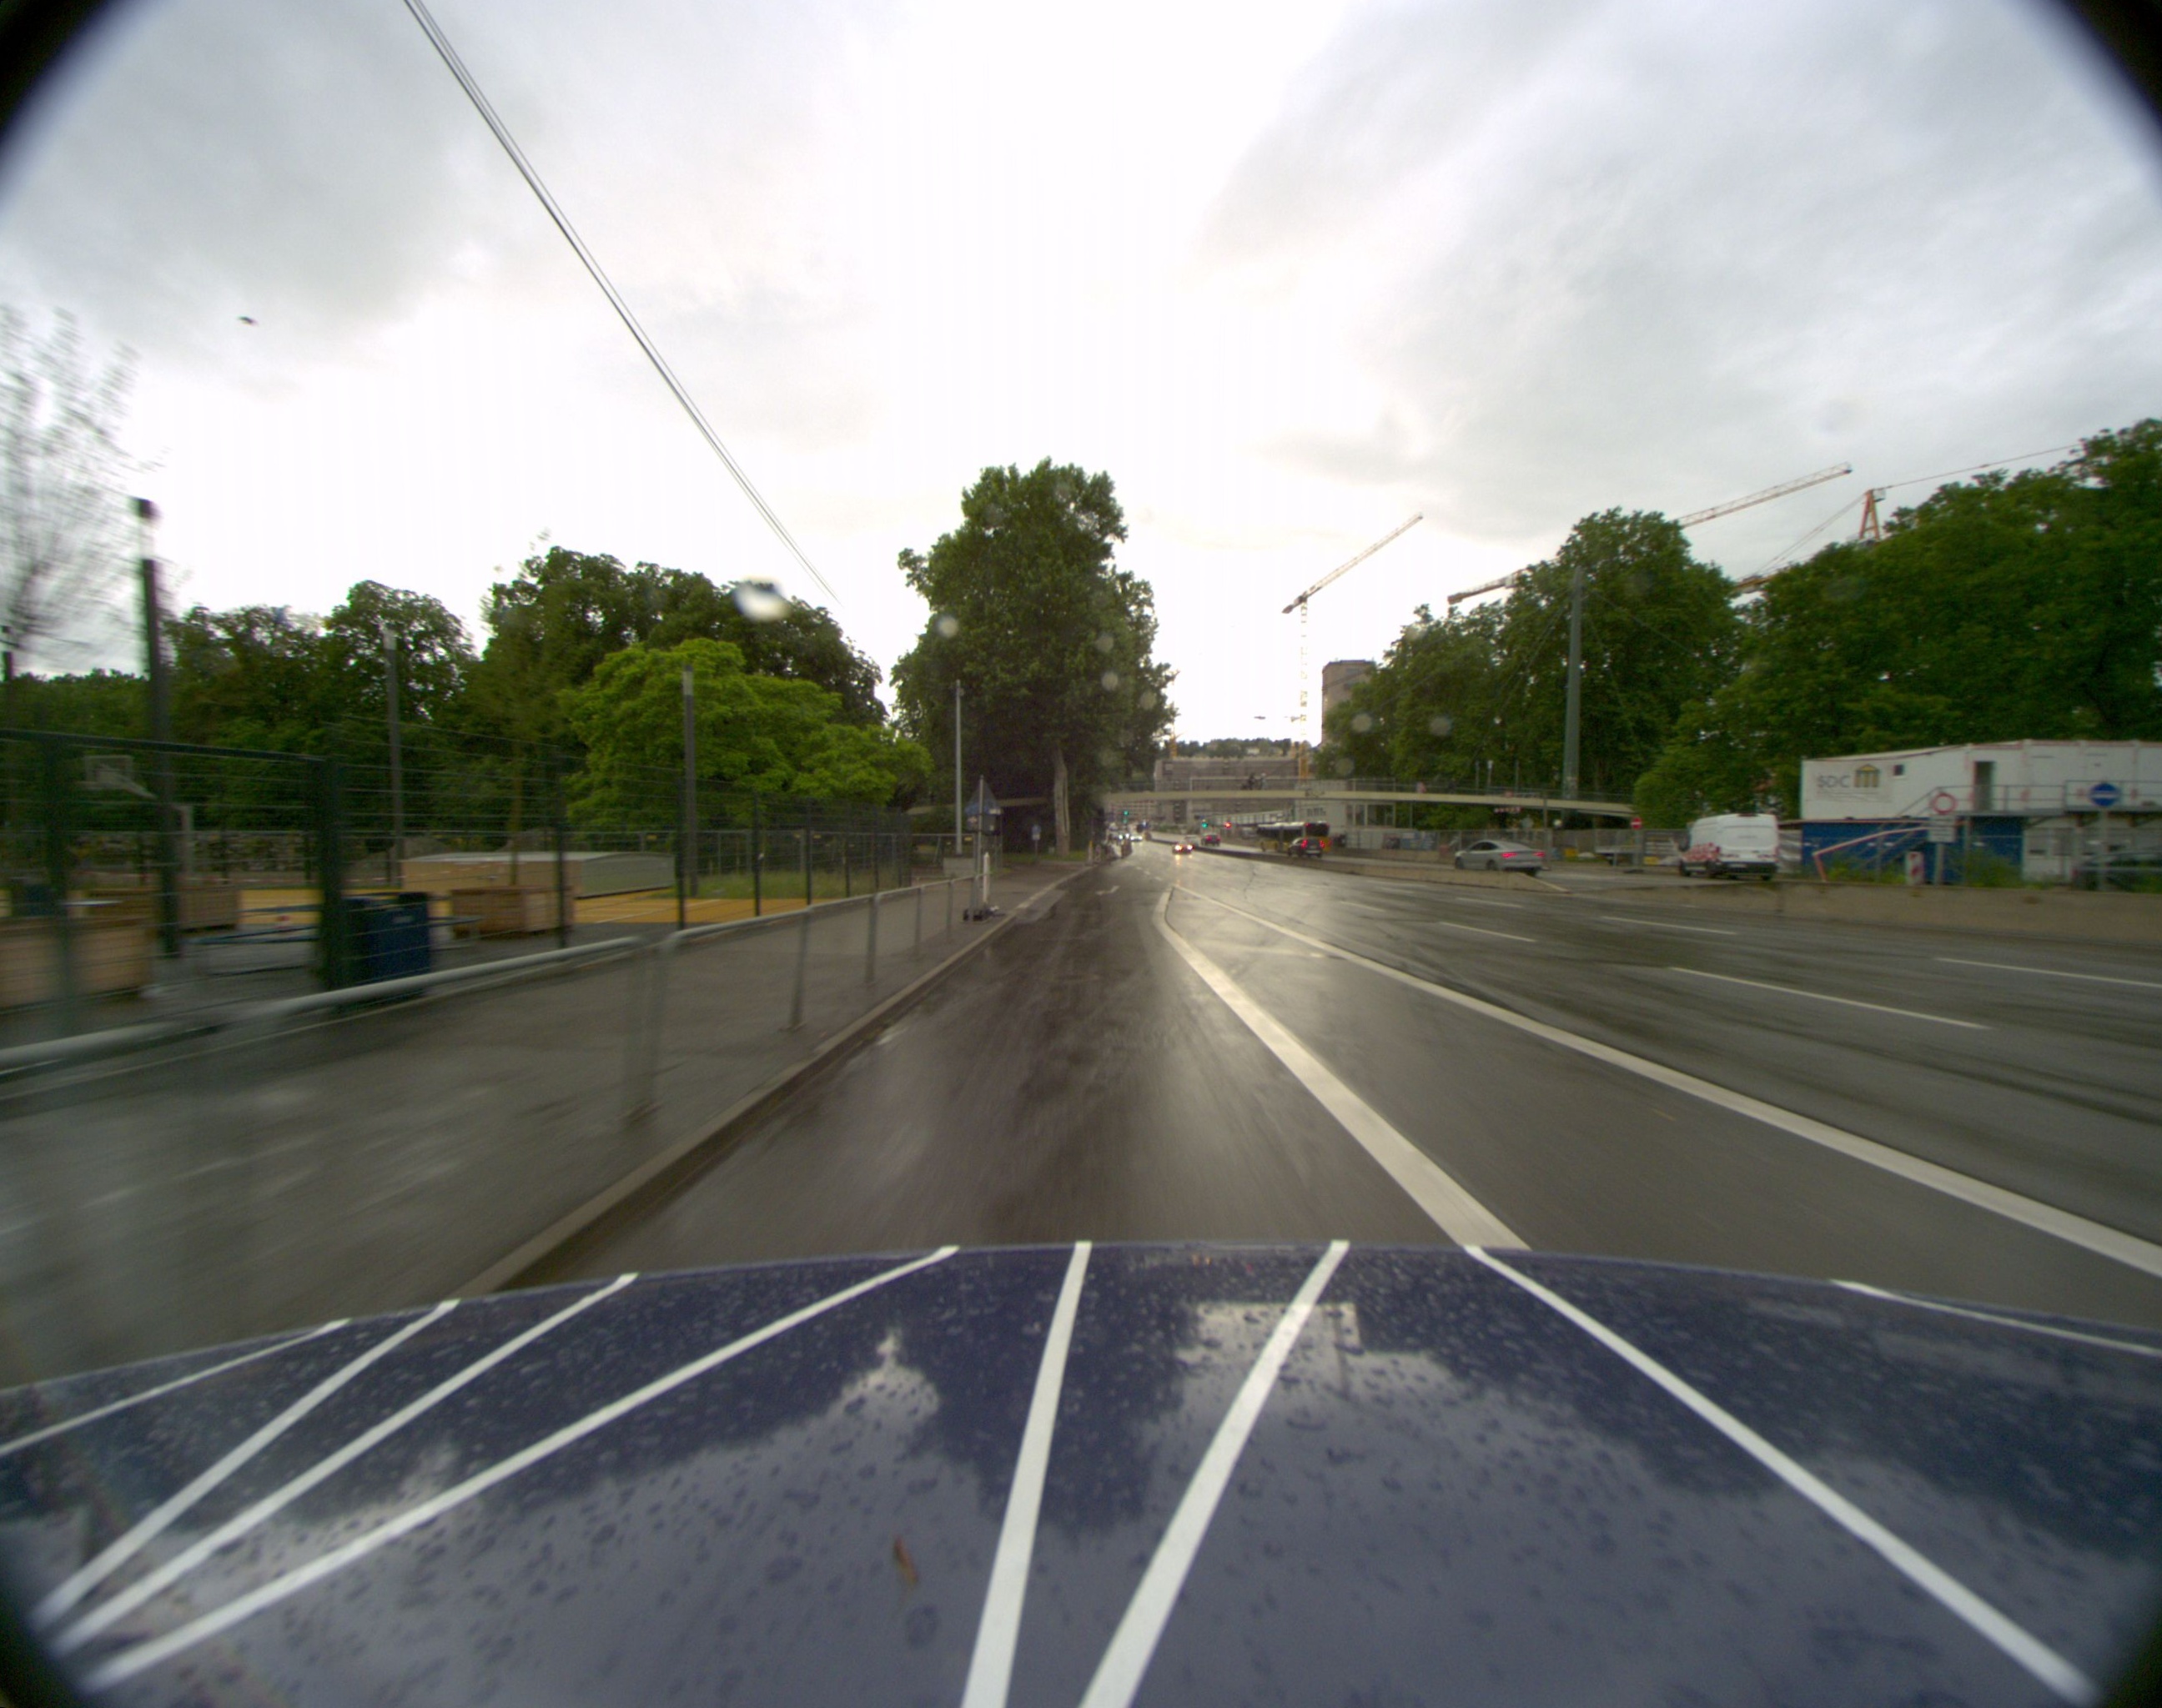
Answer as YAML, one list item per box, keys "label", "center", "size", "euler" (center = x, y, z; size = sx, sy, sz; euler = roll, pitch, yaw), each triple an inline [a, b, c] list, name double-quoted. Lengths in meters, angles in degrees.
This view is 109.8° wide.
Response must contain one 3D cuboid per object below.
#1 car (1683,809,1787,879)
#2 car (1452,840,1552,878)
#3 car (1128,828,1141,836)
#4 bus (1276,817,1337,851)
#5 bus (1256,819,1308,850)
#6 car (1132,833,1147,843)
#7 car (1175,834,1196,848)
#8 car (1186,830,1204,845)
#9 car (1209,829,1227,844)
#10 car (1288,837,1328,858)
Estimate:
- label: "car"
  center: [27.694, -0.415, 32.364]
  size: [2.075, 2.722, 4.600]
  euler: [0, 1, 24]
- label: "car"
  center: [18.376, 0.189, 33.417]
  size: [1.840, 1.567, 4.438]
  euler: [0, 1, -1]
- label: "car"
  center: [10.274, -4.187, 145.632]
  size: [1.987, 1.567, 4.438]
  euler: [0, 1, -1]
- label: "bus"
  center: [21.604, -1.850, 73.407]
  size: [3.270, 2.923, 8.952]
  euler: [-2, 1, 0]
- label: "bus"
  center: [21.630, -2.018, 82.389]
  size: [3.238, 3.038, 8.952]
  euler: [-2, 1, 0]
- label: "car"
  center: [10.061, -2.776, 130.975]
  size: [1.987, 1.567, 4.438]
  euler: [0, 1, -1]
- label: "car"
  center: [11.315, -1.402, 82.434]
  size: [1.690, 1.543, 3.999]
  euler: [-1, 0, 0]
- label: "car"
  center: [15.523, -2.191, 103.563]
  size: [1.998, 2.002, 4.001]
  euler: [0, 1, 4]
- label: "car"
  center: [18.864, -2.331, 104.713]
  size: [1.998, 2.002, 4.001]
  euler: [0, 1, 4]
- label: "car"
  center: [18.262, -0.534, 61.240]
  size: [1.840, 1.567, 4.438]
  euler: [0, 1, -1]
